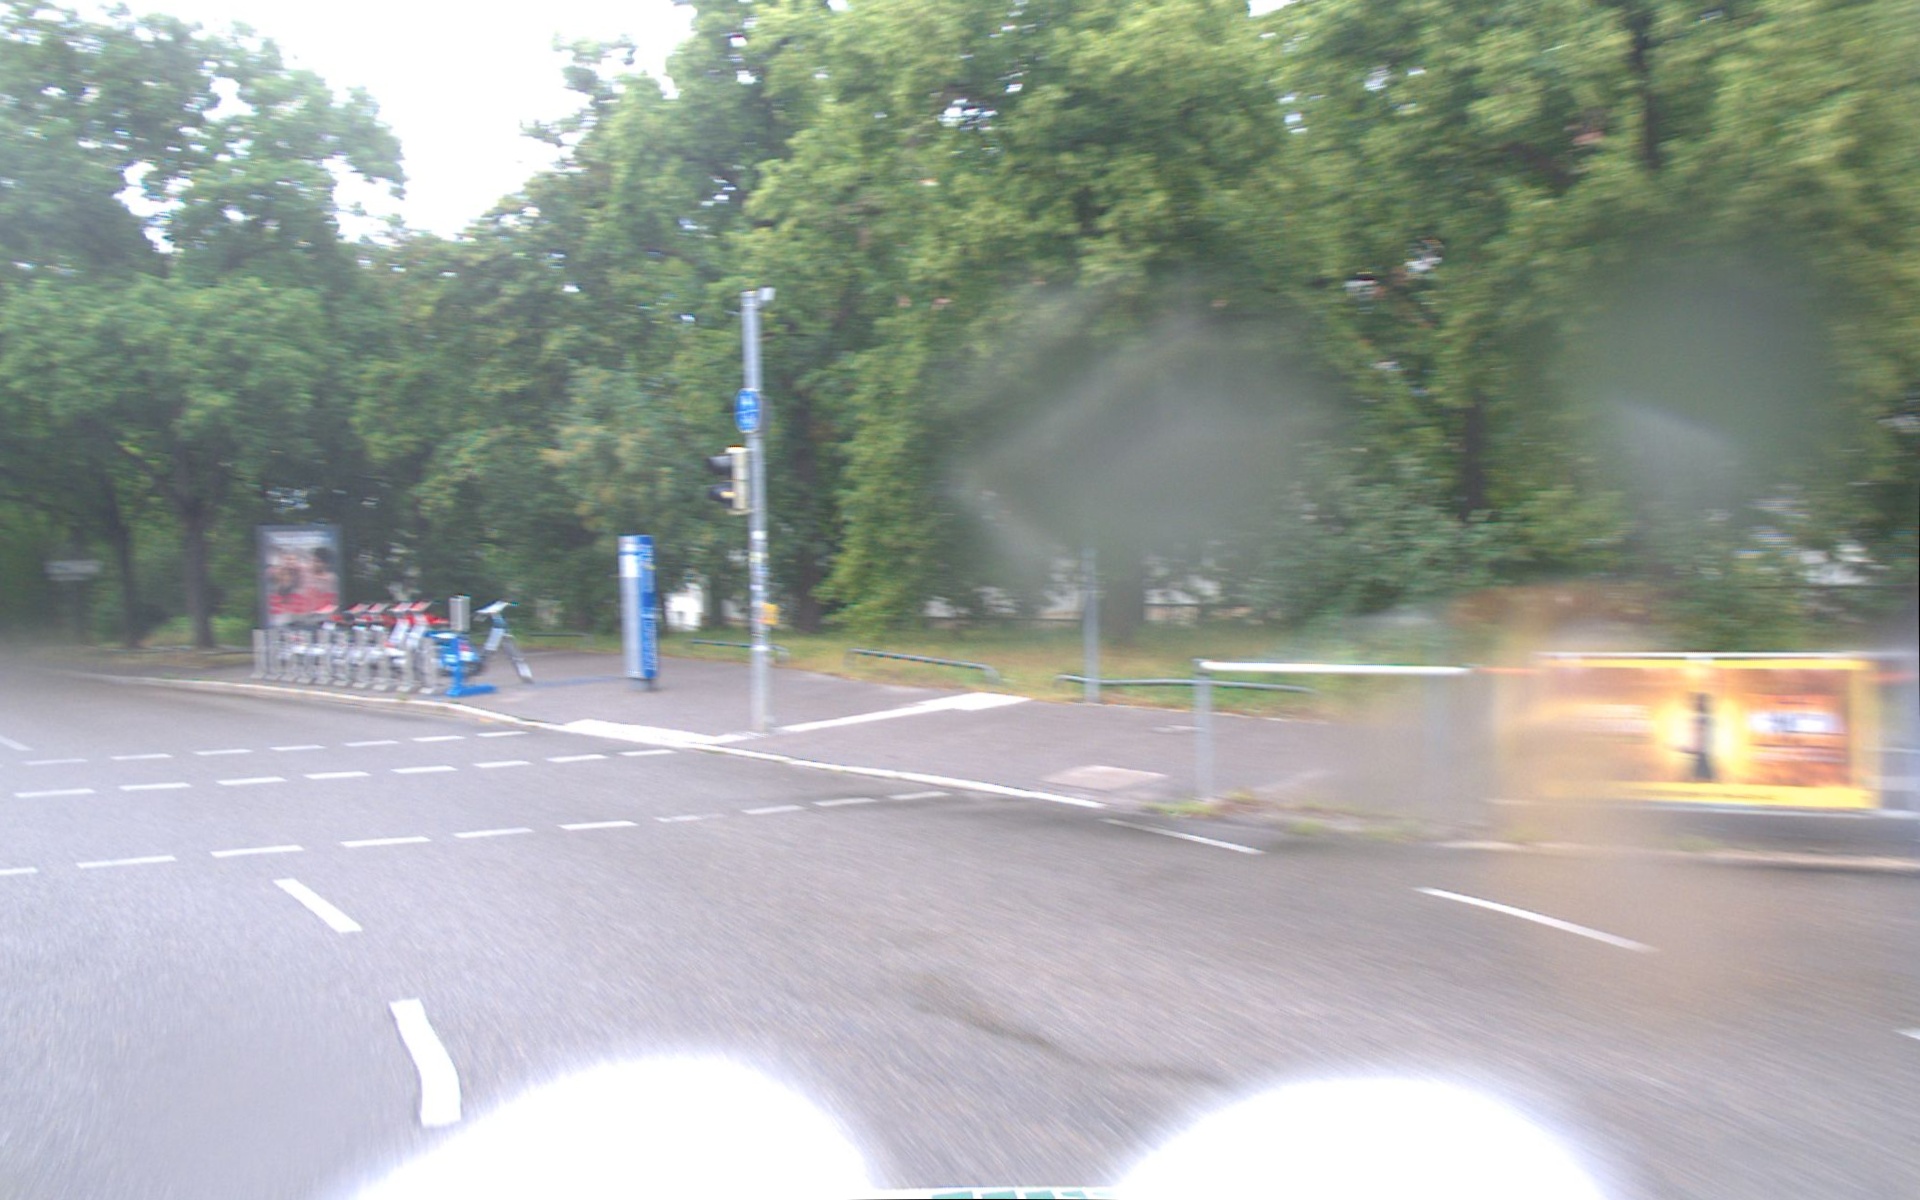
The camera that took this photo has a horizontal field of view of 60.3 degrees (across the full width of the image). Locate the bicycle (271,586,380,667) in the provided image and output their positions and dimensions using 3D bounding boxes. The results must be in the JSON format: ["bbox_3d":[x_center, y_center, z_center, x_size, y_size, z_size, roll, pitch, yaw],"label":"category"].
[{"bbox_3d":[-10.336,0.422,26.966,1.477,1.150,0.548,-7,3,-41],"label":"bicycle"}]

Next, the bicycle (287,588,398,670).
[{"bbox_3d":[-9.798,0.449,26.279,1.477,1.150,0.548,-7,3,-41],"label":"bicycle"}]

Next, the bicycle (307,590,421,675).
[{"bbox_3d":[-9.142,0.489,25.409,1.477,1.150,0.548,-7,3,-41],"label":"bicycle"}]

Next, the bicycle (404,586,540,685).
[{"bbox_3d":[-6.474,0.456,21.988,1.587,1.150,0.548,-7,3,-41],"label":"bicycle"}]

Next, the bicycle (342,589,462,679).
[{"bbox_3d":[-8.107,0.483,24.060,1.477,1.150,0.548,-7,3,-41],"label":"bicycle"}]

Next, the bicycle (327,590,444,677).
[{"bbox_3d":[-8.579,0.488,24.709,1.477,1.150,0.548,-7,3,-41],"label":"bicycle"}]
